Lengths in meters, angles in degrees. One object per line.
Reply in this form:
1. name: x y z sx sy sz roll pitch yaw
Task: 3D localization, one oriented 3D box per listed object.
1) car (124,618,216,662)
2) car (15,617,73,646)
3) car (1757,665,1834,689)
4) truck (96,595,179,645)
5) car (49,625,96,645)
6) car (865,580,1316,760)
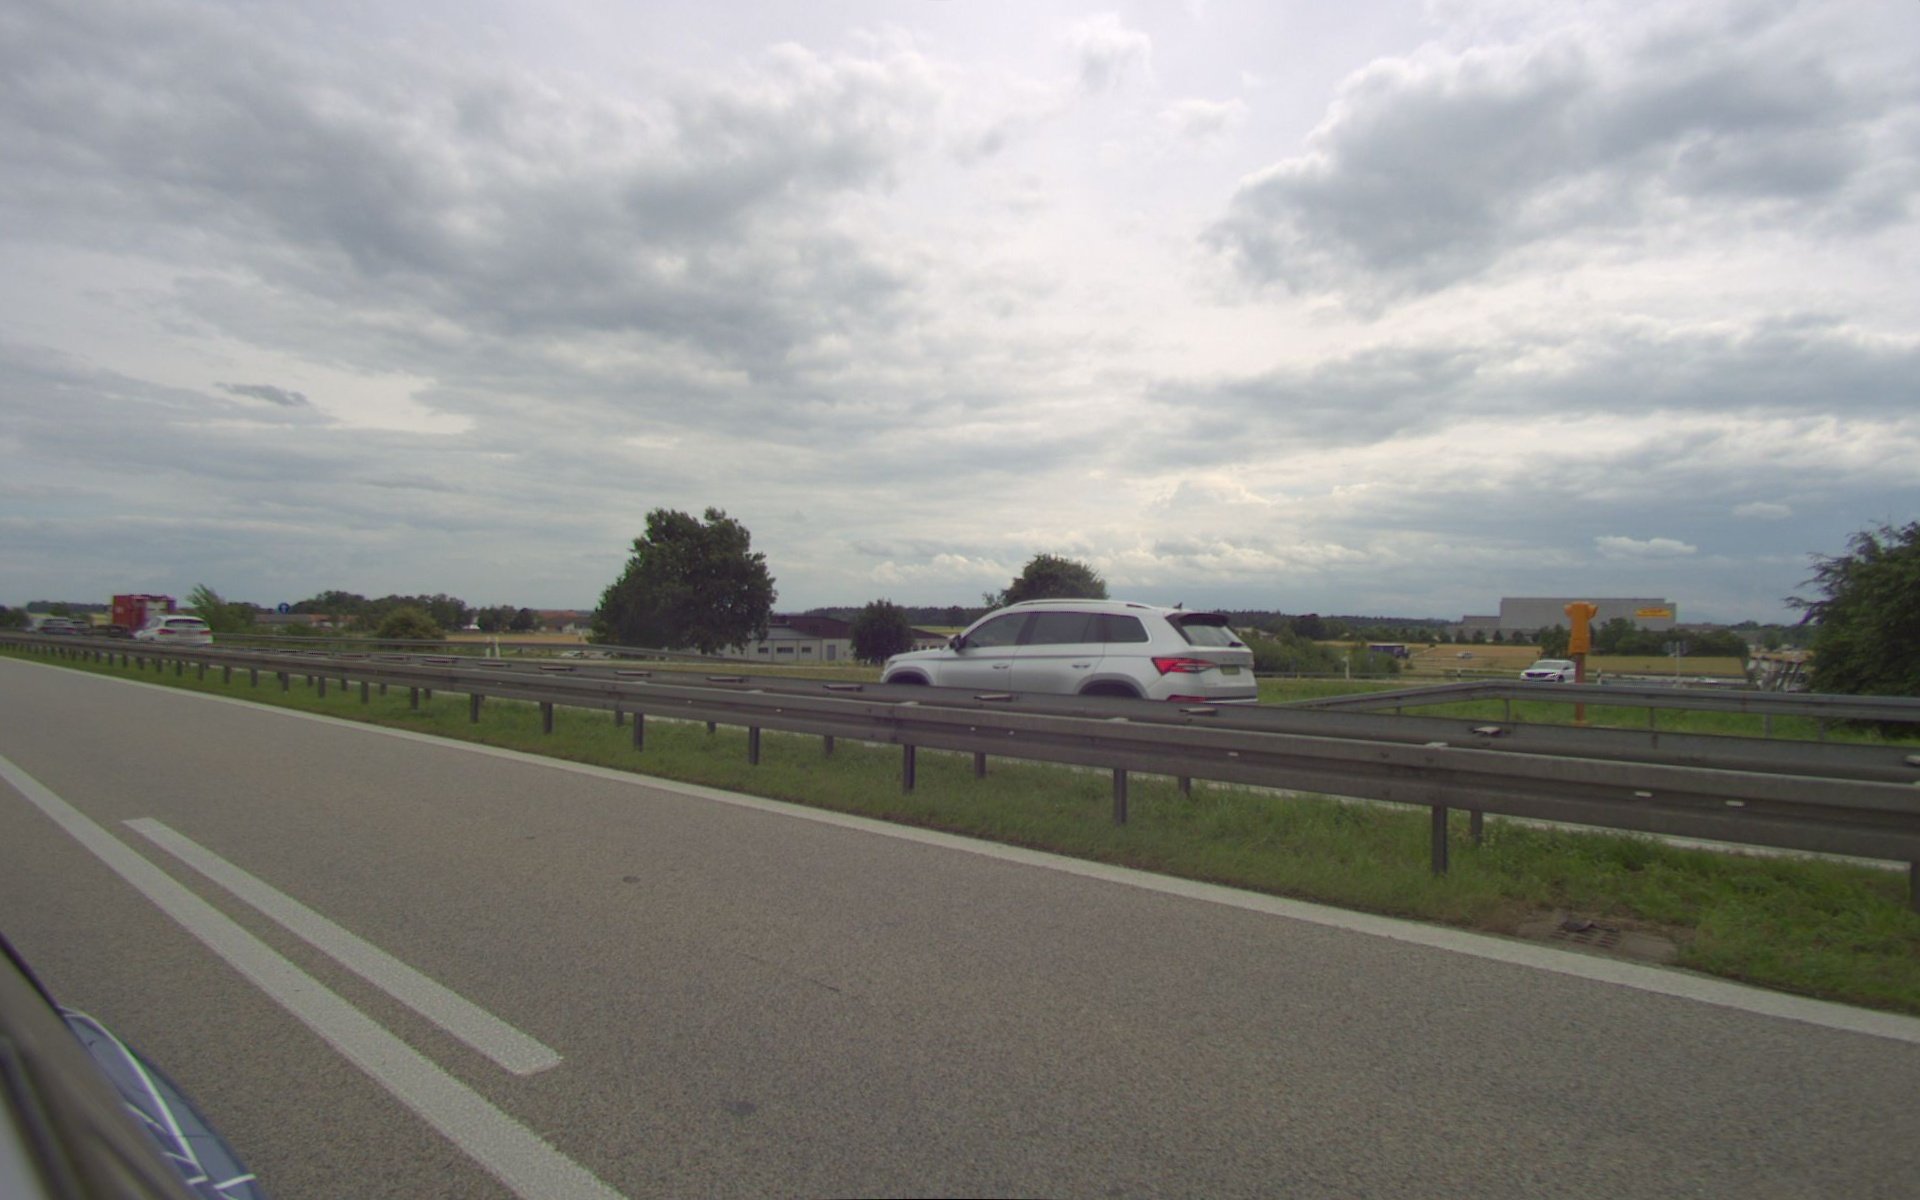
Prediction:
1. car: -30.196 1.501 38.637 4.813 1.600 1.834 -1 -3 41
2. car: -52.710 1.830 58.236 4.759 1.600 1.872 -1 -3 41
3. car: 48.767 4.499 59.172 1.869 1.311 3.979 -4 -5 16
4. truck: -62.802 1.543 77.140 11.068 3.563 2.641 -1 -3 40
5. car: -62.347 2.438 71.045 4.780 1.356 1.807 -1 -3 41
6. car: 1.270 0.691 11.292 4.759 1.600 1.872 -1 -3 41
